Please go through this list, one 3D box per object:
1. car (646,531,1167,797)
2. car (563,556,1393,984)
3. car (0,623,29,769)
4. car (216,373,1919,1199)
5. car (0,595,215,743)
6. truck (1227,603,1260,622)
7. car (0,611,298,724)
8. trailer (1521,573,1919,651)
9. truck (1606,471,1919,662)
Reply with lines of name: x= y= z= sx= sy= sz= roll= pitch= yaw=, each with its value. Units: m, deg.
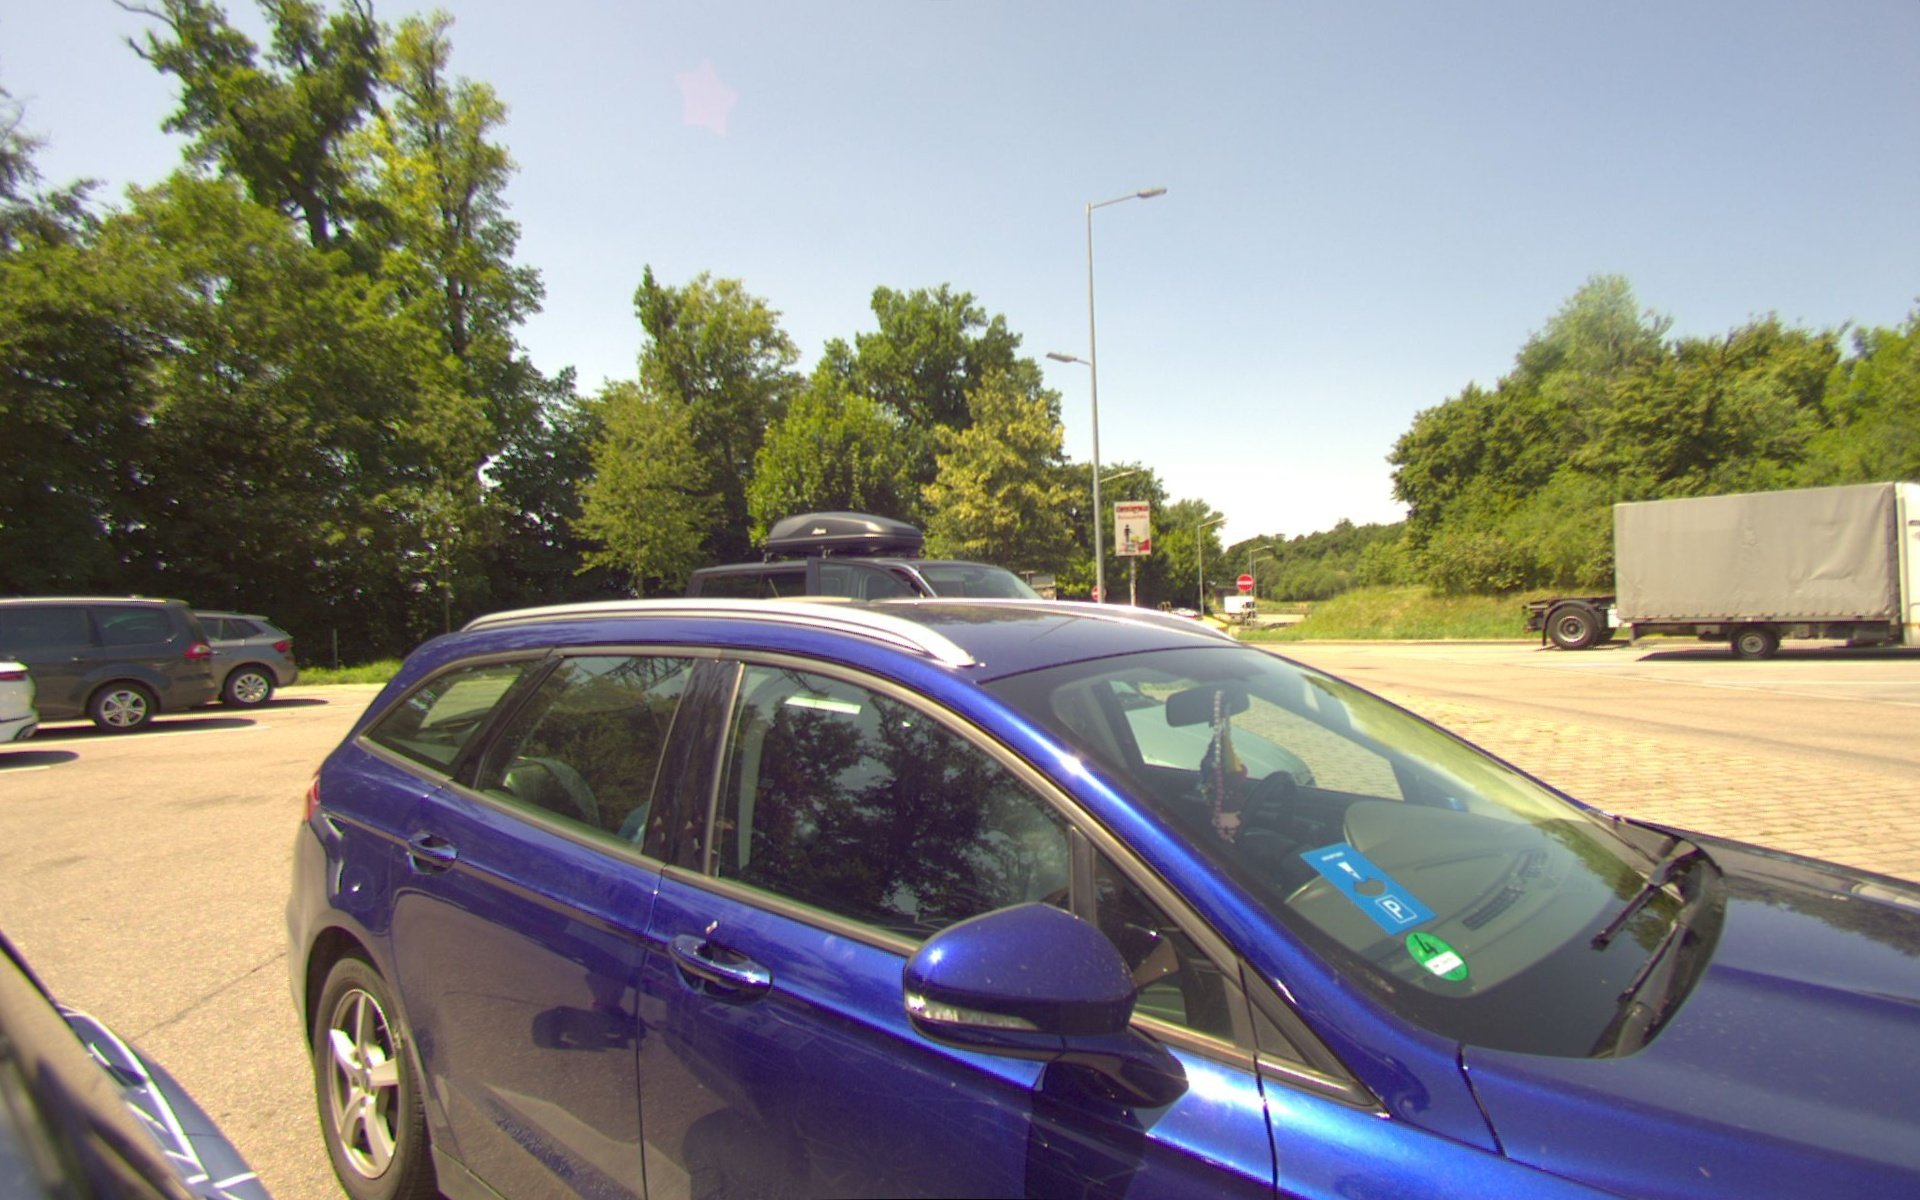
car: x=-0.661 y=0.511 z=9.361 sx=4.635 sy=1.884 sz=1.937 roll=-2 pitch=0 yaw=37
car: x=-0.217 y=0.672 z=5.787 sx=4.637 sy=1.545 sz=1.720 roll=-2 pitch=0 yaw=39
car: x=-10.999 y=0.932 z=9.158 sx=3.767 sy=1.396 sz=1.722 roll=0 pitch=-1 yaw=-44
car: x=0.246 y=0.635 z=2.075 sx=4.637 sy=1.493 sz=1.720 roll=-2 pitch=-1 yaw=39
car: x=-11.658 y=0.822 z=12.622 sx=3.762 sy=1.737 sz=1.724 roll=0 pitch=-1 yaw=-38
truck: x=47.978 y=2.022 z=171.607 sx=2.442 sy=3.102 sz=8.036 roll=-1 pitch=0 yaw=-7
car: x=-12.597 y=0.955 z=15.703 sx=3.762 sy=1.551 sz=1.724 roll=0 pitch=-1 yaw=-38
trailer: x=17.631 y=0.315 z=23.160 sx=8.088 sy=1.385 sz=2.200 roll=-4 pitch=-1 yaw=41
truck: x=16.703 y=-0.598 z=18.938 sx=7.337 sy=3.235 sz=2.502 roll=-4 pitch=-1 yaw=41
